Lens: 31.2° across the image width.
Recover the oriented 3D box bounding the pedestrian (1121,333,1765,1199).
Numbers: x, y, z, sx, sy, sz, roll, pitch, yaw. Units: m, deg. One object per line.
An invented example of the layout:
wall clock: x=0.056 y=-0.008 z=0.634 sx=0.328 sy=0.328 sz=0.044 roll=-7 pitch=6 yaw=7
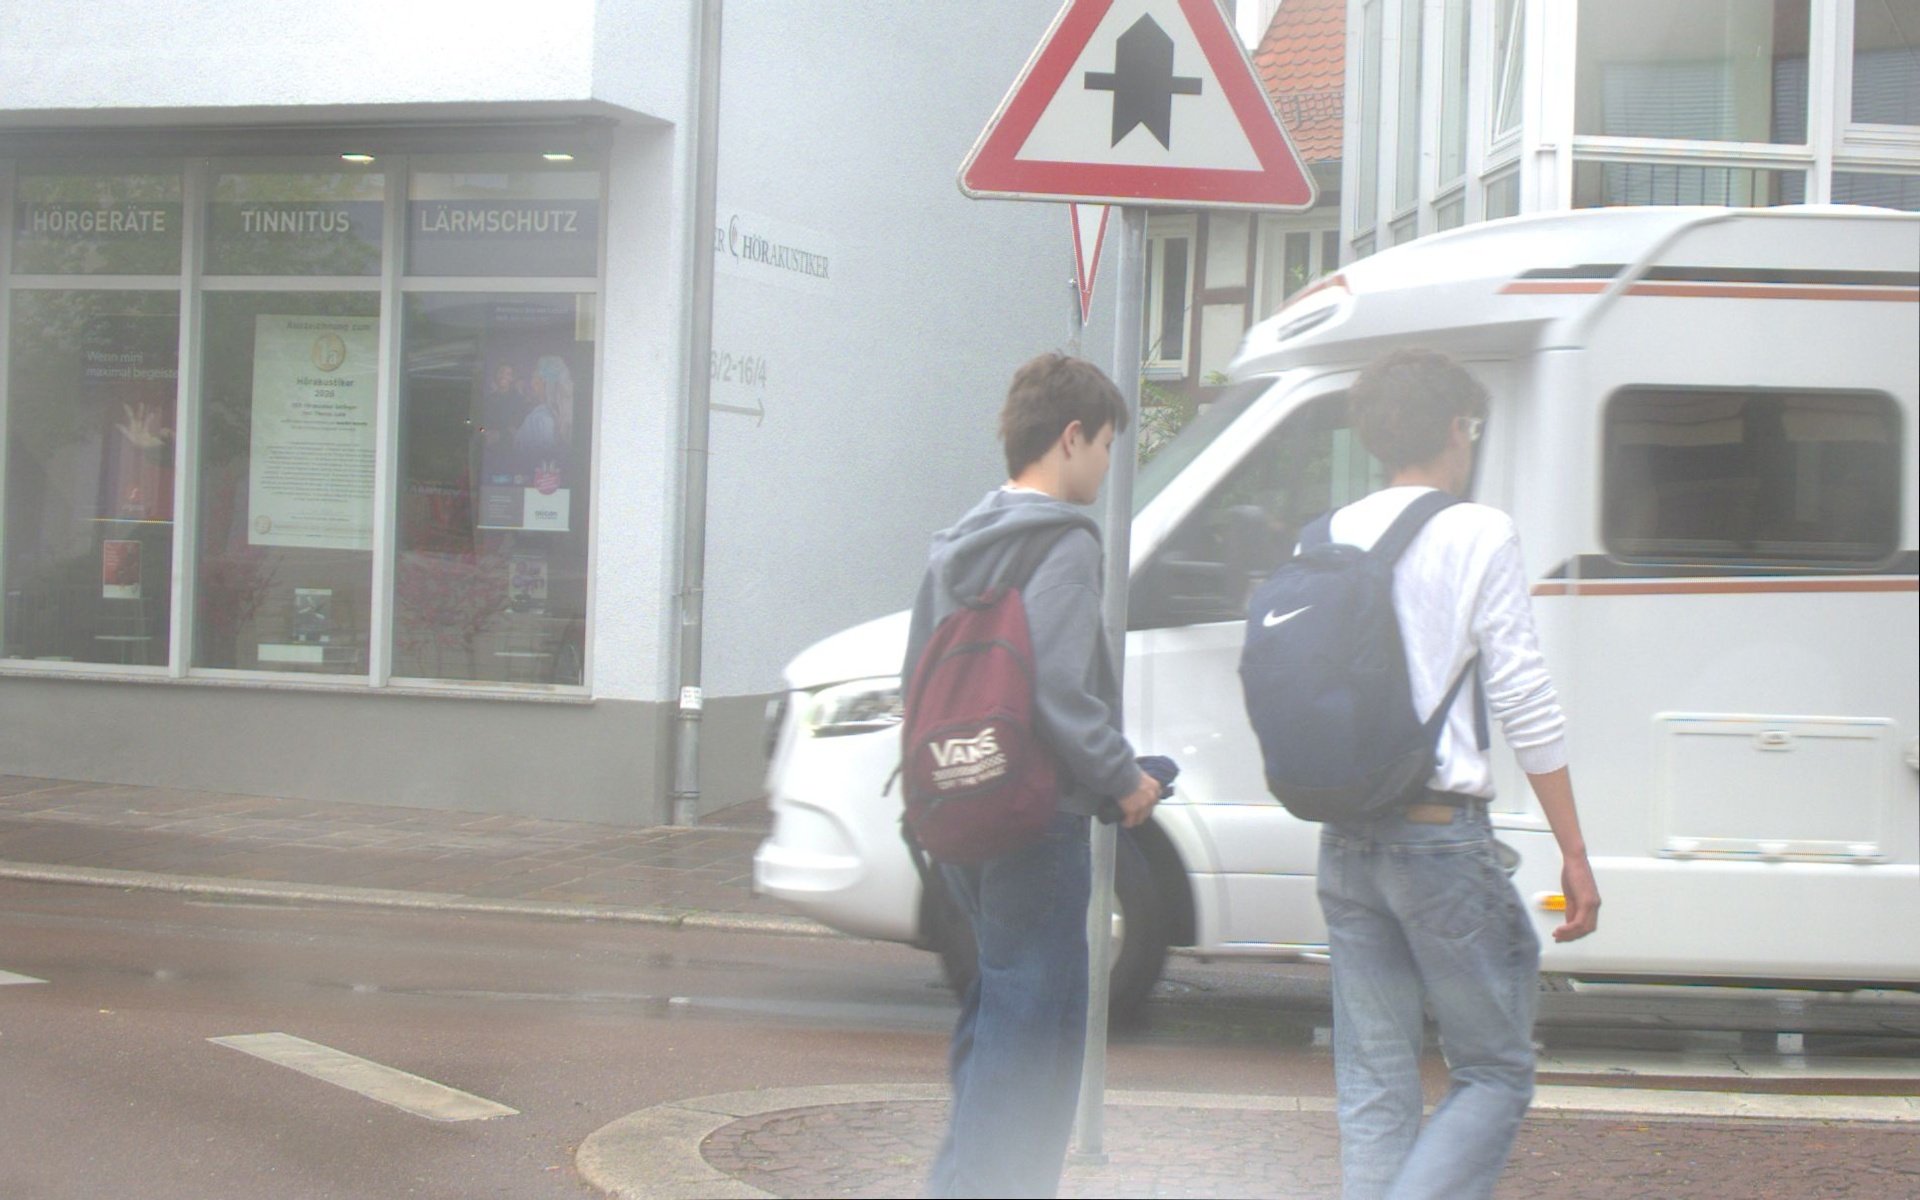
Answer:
pedestrian: x=0.866 y=0.475 z=6.044 sx=0.665 sy=1.800 sz=1.059 roll=2 pitch=0 yaw=36

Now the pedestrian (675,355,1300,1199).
pedestrian: x=0.071 y=0.463 z=6.650 sx=0.693 sy=1.794 sz=1.056 roll=2 pitch=0 yaw=35

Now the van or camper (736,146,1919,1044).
van or camper: x=2.772 y=0.034 z=11.519 sx=6.729 sy=2.577 sz=2.445 roll=2 pitch=0 yaw=2
